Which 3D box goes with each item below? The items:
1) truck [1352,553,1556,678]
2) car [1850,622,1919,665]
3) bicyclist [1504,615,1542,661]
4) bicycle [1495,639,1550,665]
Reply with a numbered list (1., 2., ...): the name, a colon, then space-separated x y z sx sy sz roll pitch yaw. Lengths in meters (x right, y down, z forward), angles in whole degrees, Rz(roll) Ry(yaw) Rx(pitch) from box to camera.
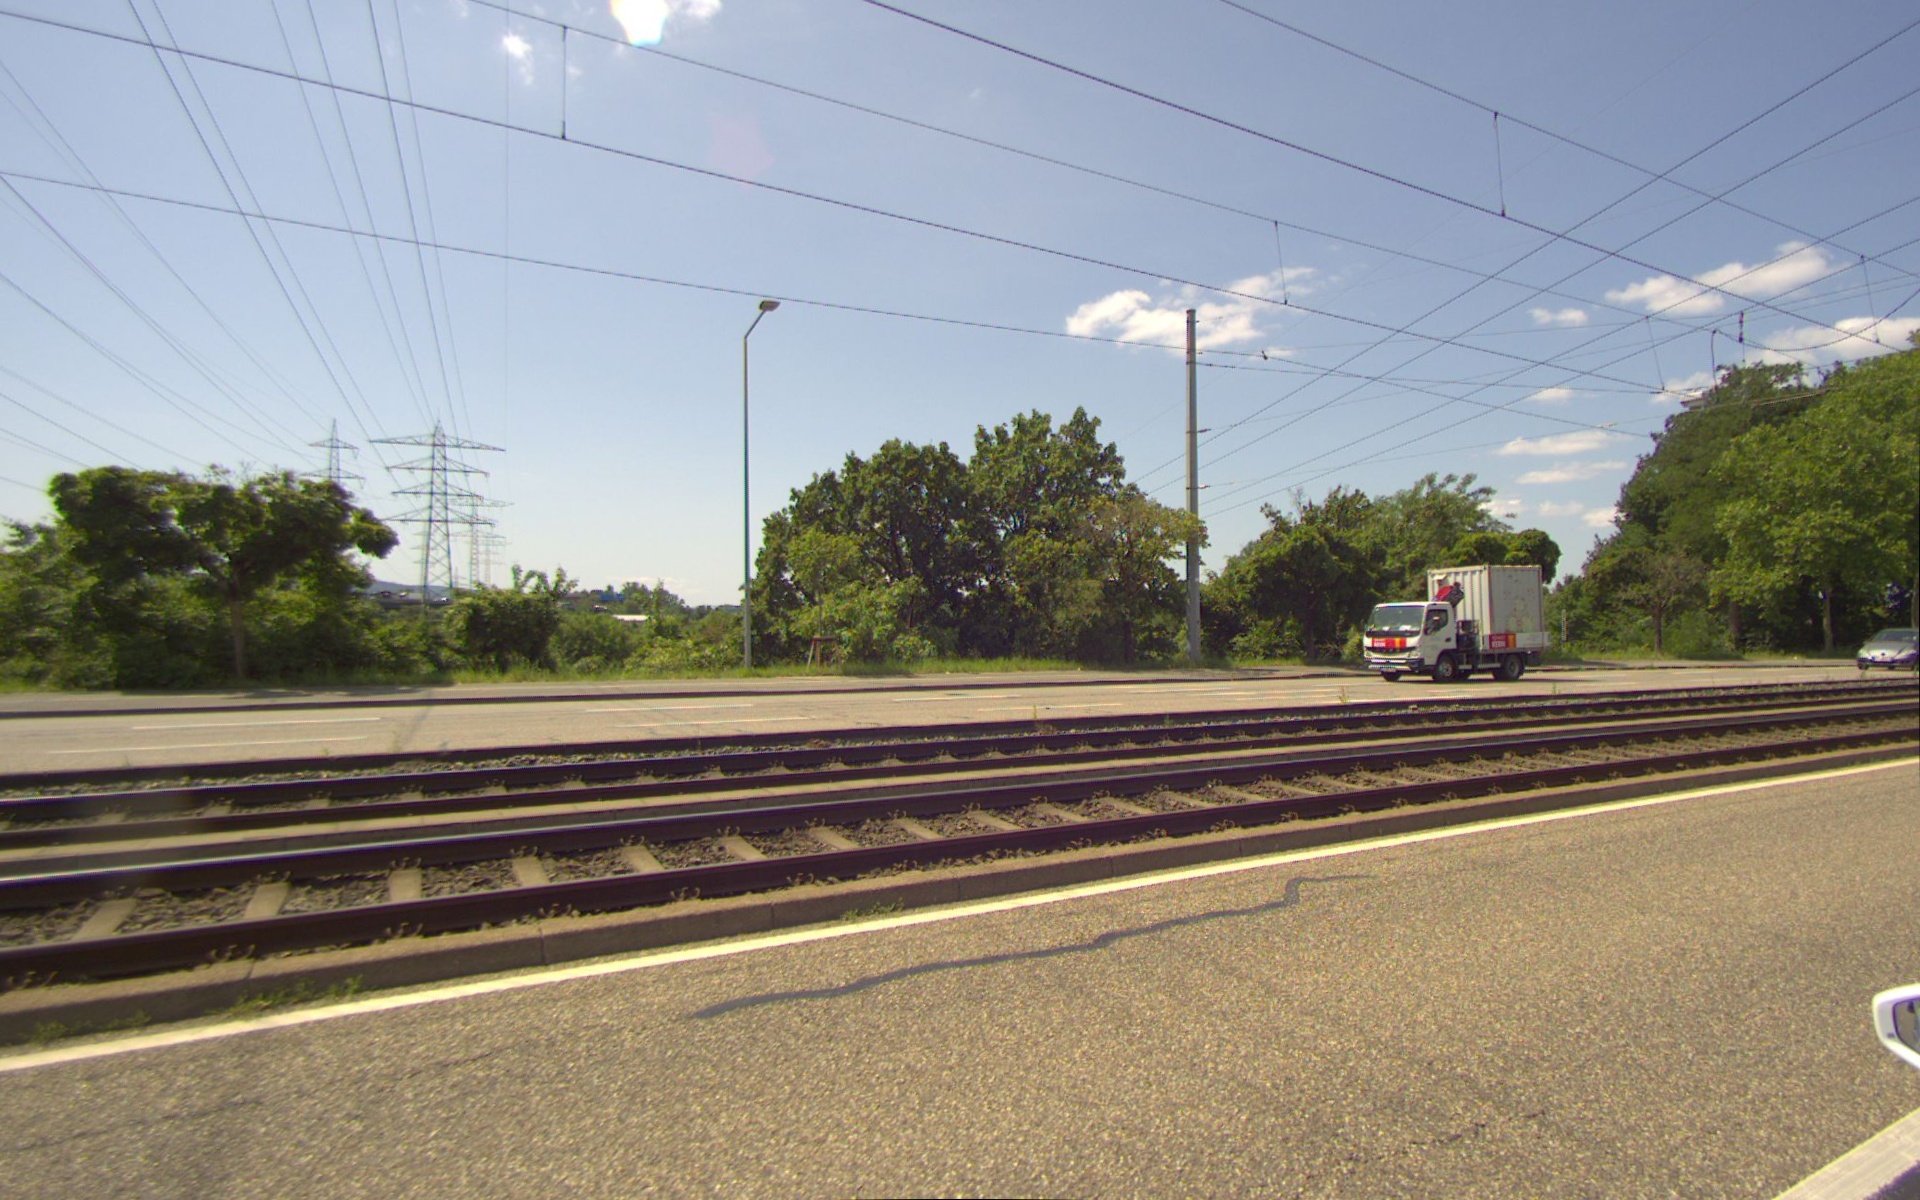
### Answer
1. truck: 14.191 0.468 28.767 5.966 3.279 2.241 1 -1 -28
2. car: 35.775 1.624 38.214 3.911 1.555 1.744 1 -2 -31
3. bicyclist: 20.531 1.389 36.623 1.140 1.642 0.648 1 1 -26
4. bicycle: 20.525 1.884 36.640 2.092 0.871 0.648 1 1 -26
